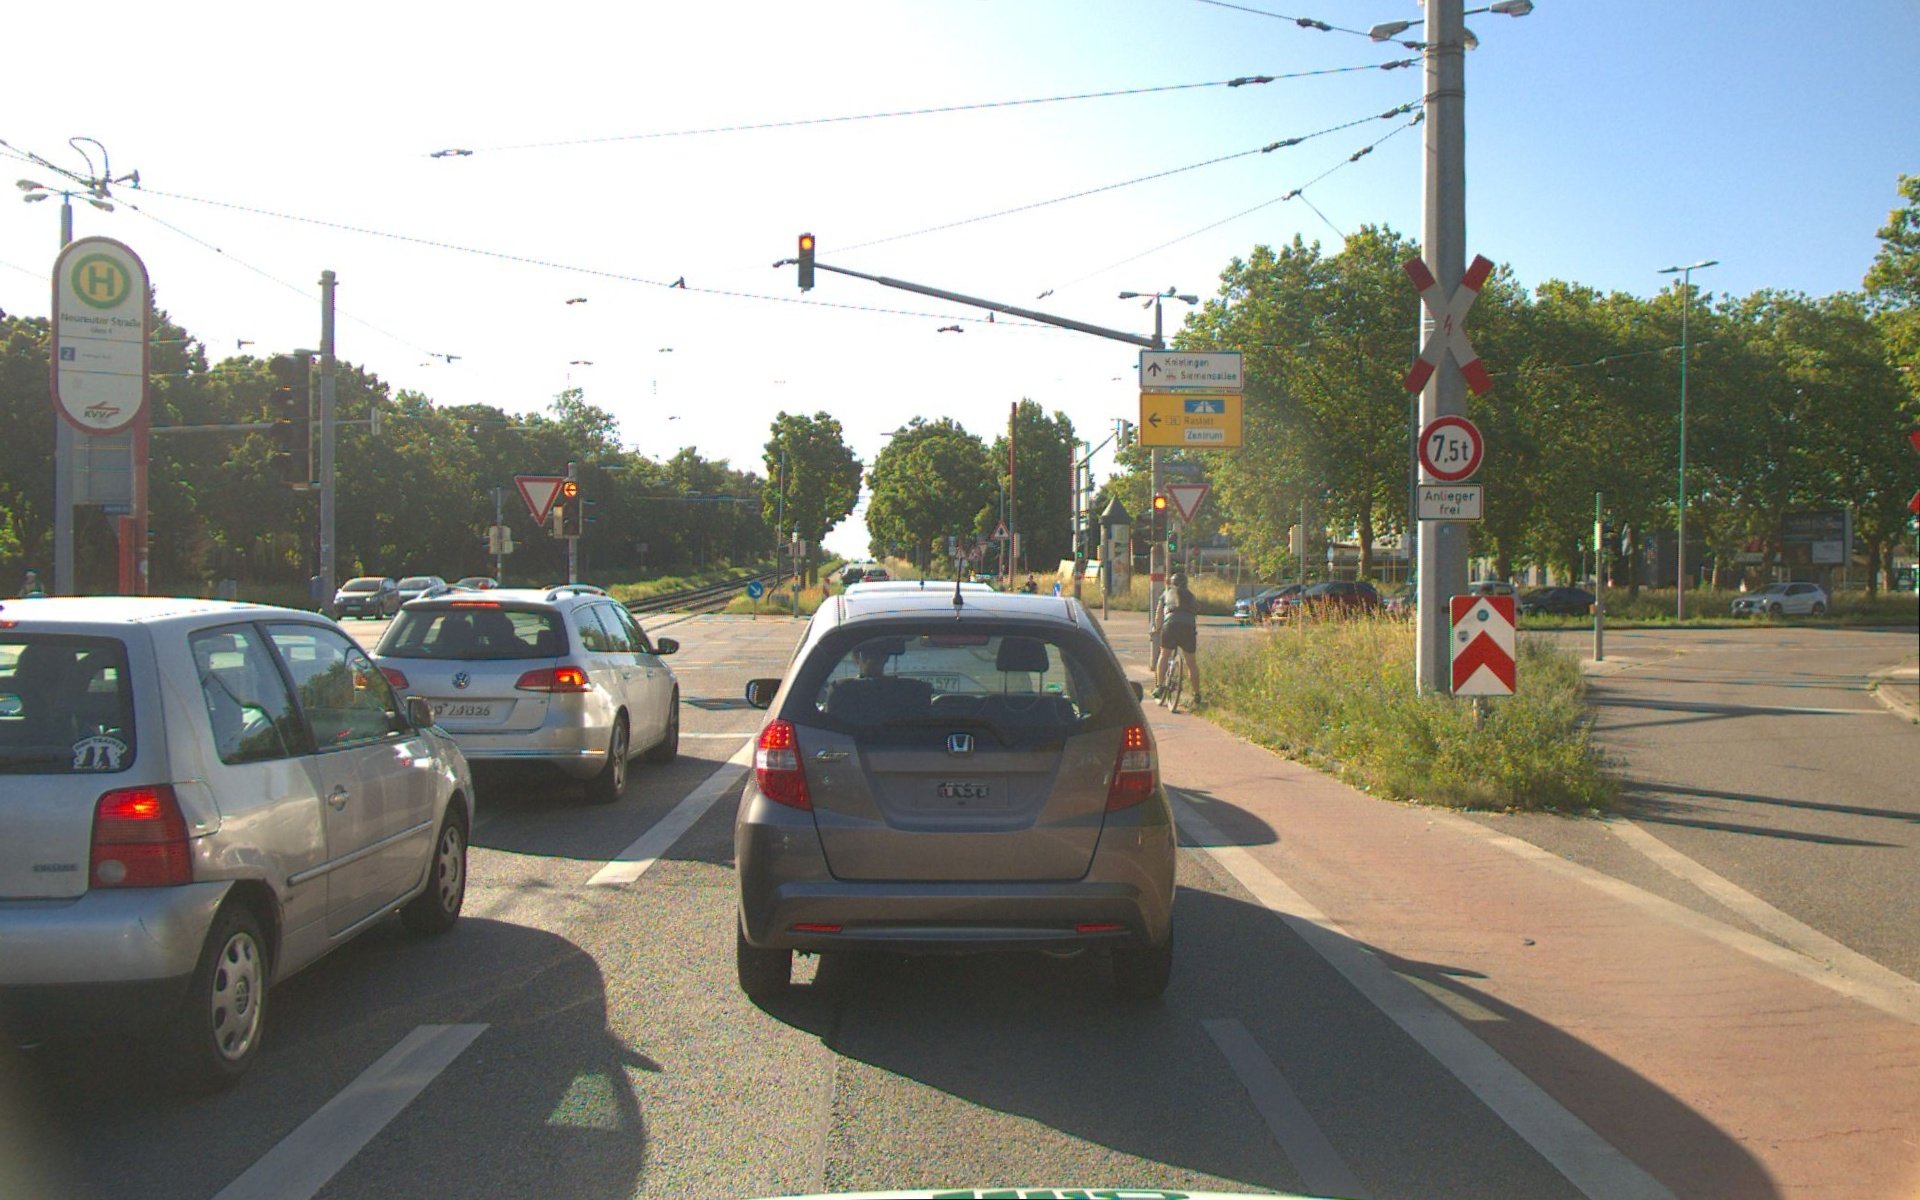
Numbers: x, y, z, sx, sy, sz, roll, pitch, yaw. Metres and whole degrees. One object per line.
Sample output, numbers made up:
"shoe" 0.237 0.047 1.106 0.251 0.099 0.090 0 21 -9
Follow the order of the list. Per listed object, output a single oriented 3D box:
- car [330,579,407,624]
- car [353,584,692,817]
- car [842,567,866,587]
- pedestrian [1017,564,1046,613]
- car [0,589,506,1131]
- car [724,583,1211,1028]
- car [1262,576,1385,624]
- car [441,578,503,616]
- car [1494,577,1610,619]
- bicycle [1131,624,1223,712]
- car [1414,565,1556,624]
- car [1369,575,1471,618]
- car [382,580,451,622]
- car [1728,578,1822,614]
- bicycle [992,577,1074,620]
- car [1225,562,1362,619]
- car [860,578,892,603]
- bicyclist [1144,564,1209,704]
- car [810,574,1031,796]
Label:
"car" -21.316 0.038 59.752 1.798 1.575 3.993 0 0 -8
"car" -3.153 0.654 12.730 1.586 1.482 4.084 1 0 -1
"car" -7.550 -1.613 117.606 1.494 1.403 3.670 0 0 -7
"pedestrian" 2.730 -0.445 62.939 0.842 1.868 0.784 0 0 -26
"car" -2.895 0.703 6.090 1.586 1.442 3.350 0 0 -1
"car" -0.062 0.678 7.359 1.635 1.487 3.584 0 0 -3
"car" 12.359 -0.012 56.167 3.934 1.557 1.594 -1 1 -24
"car" -21.733 -0.162 73.790 1.956 1.632 4.746 1 1 -8
"car" 23.592 -0.097 65.874 4.450 1.601 1.681 0 0 -24
"bicycle" 2.755 0.841 21.288 0.707 1.006 2.875 1 0 -2
"car" 19.022 -0.226 59.889 4.823 2.049 1.985 0 0 -24
"car" 17.601 -0.151 63.247 3.694 1.597 1.480 0 0 -24
"car" -21.485 0.021 65.541 1.798 1.575 4.277 0 0 -8
"car" 35.362 -0.199 71.750 3.938 1.527 1.580 -1 0 -26
"bicycle" 2.786 -0.071 62.954 3.164 1.602 0.814 0 0 -26
"car" 12.177 -0.327 60.453 4.626 1.912 1.985 2 0 -24
"car" -5.175 -0.595 101.311 1.677 1.504 3.993 0 0 -8
"bicyclist" 2.767 0.428 21.209 0.652 1.746 0.948 1 0 -2
"car" -0.332 0.599 13.991 1.578 1.589 4.287 0 0 -1
